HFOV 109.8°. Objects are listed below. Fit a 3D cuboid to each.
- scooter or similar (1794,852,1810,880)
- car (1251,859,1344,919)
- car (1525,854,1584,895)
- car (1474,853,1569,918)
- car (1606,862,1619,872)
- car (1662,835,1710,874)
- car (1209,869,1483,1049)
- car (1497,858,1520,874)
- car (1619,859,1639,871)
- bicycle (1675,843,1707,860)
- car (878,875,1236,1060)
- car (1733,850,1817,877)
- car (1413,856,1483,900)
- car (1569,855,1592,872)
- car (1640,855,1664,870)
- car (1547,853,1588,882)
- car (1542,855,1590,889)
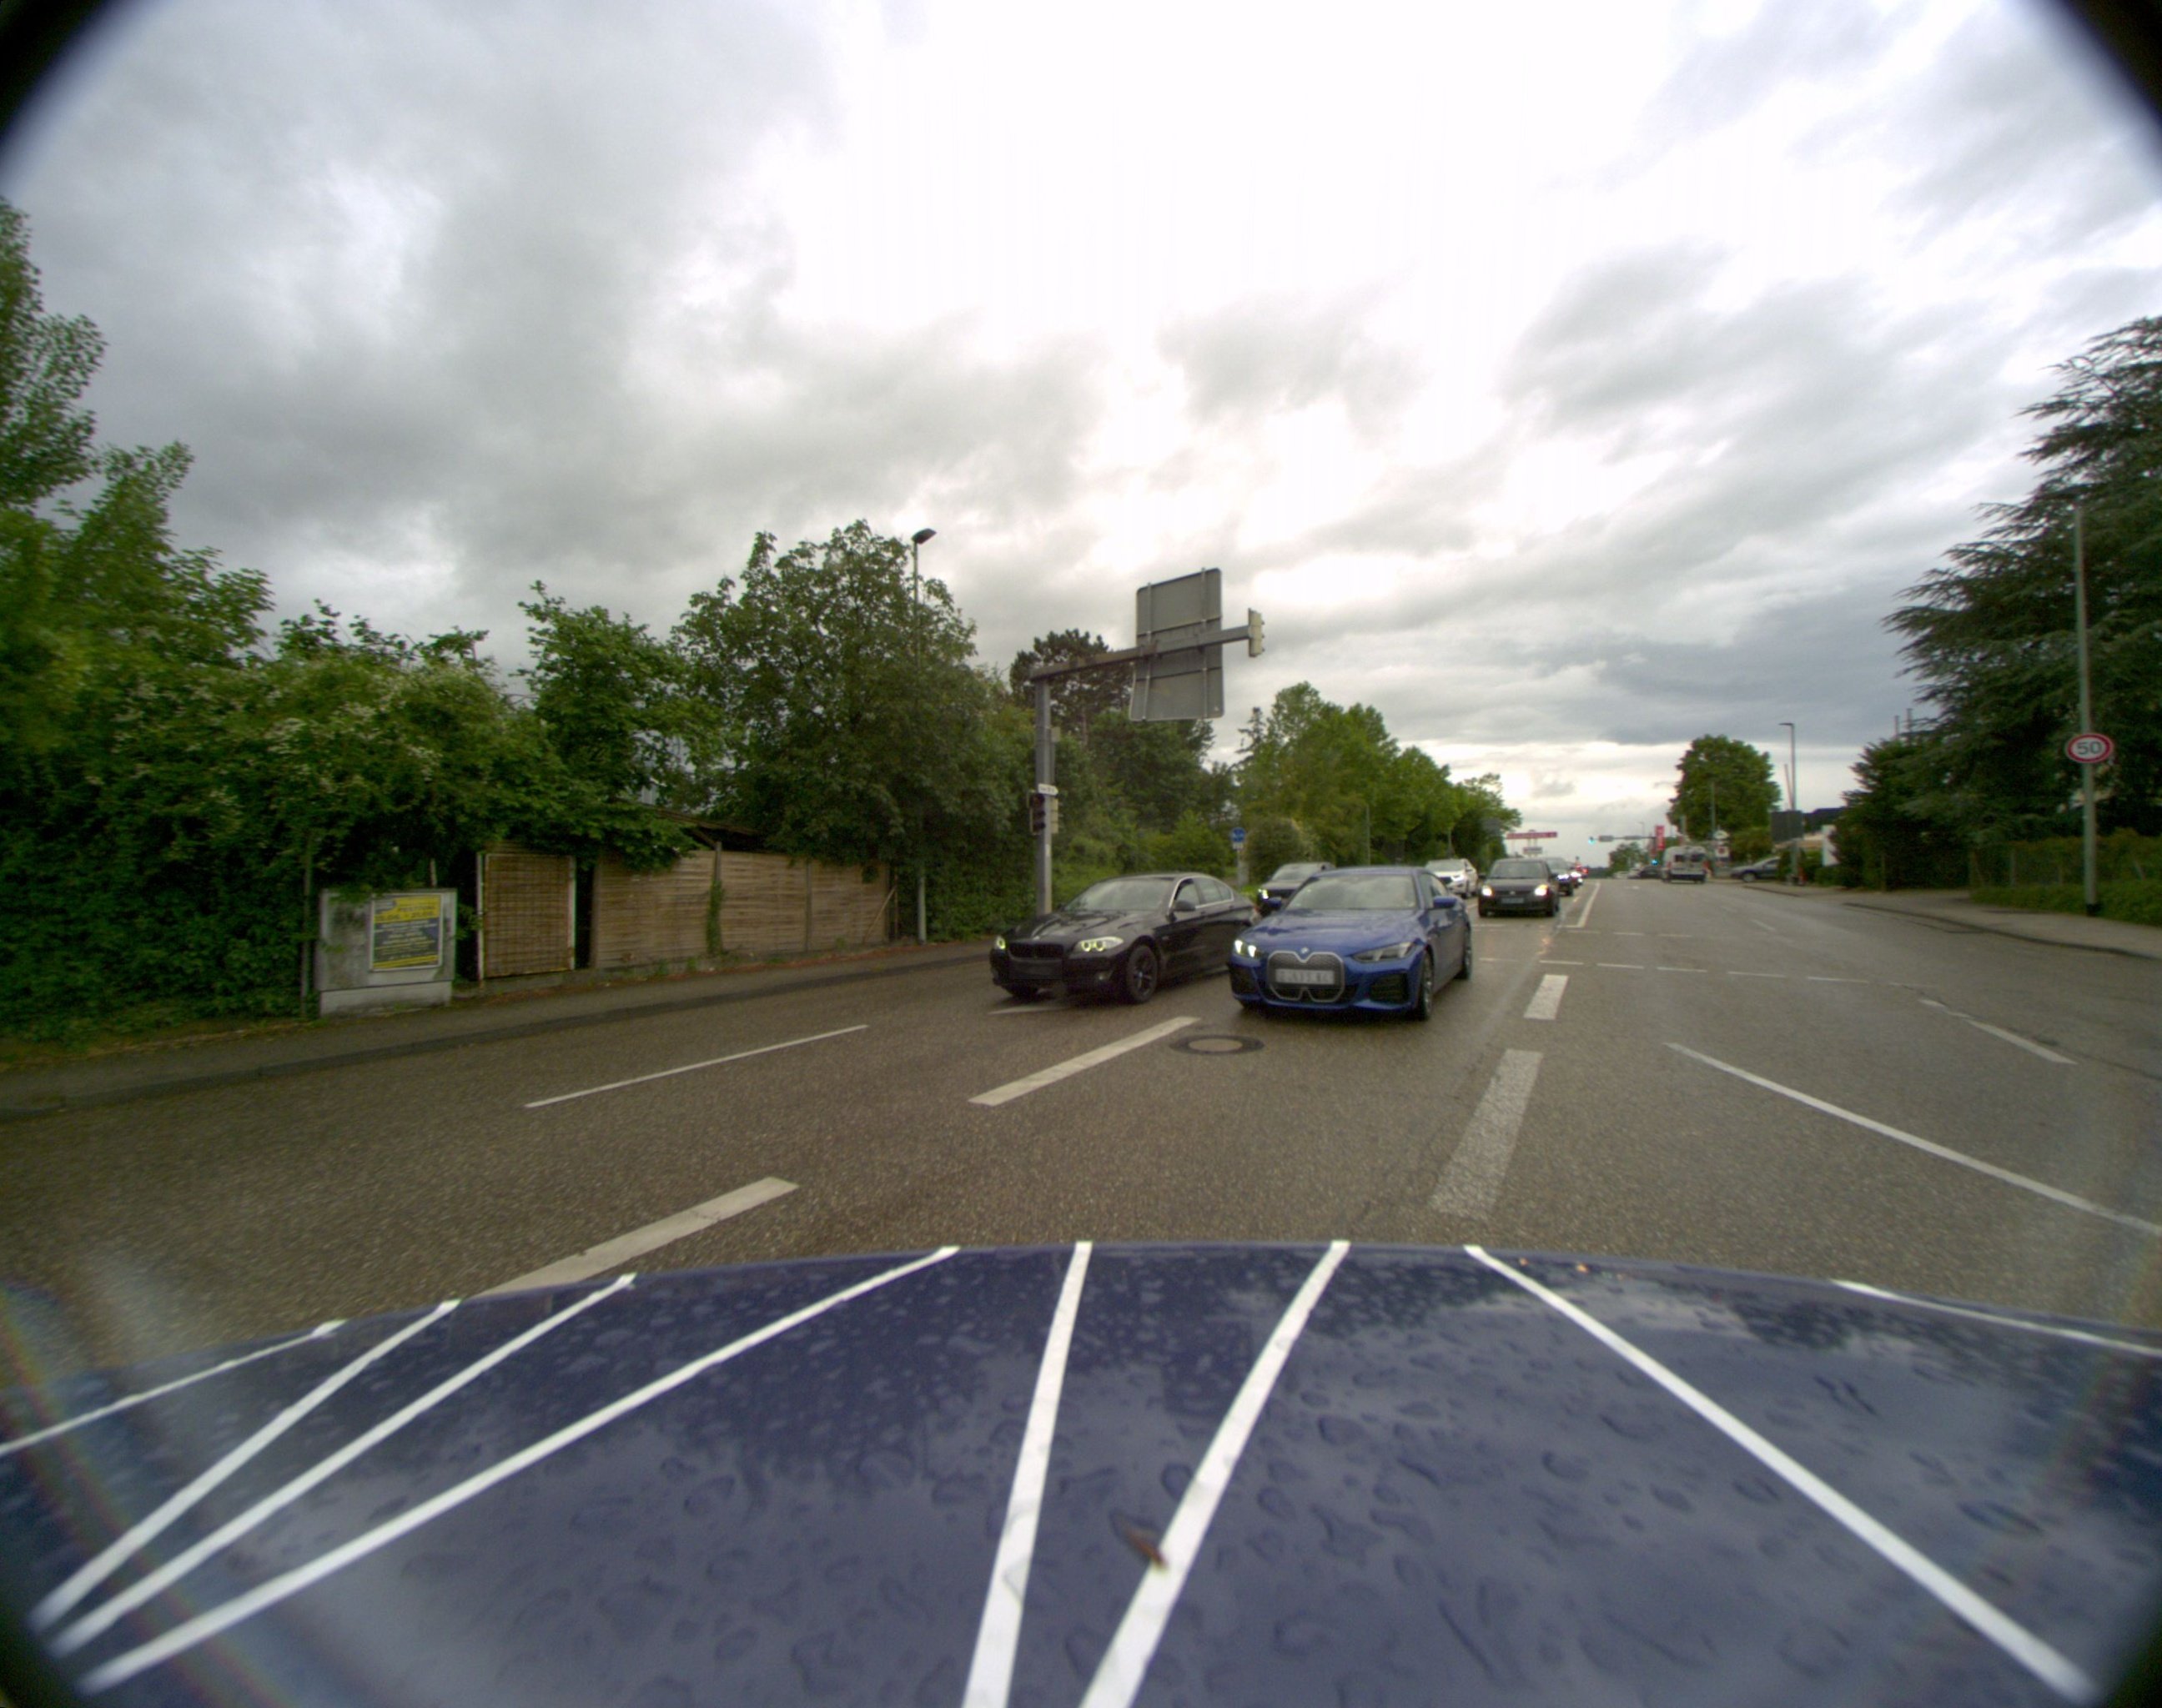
[{"bbox_3d":[36.085,0.591,38.026,1.884,1.397,0.505,-1,0,-45],"label":"scooter or similar"},{"bbox_3d":[6.905,1.061,24.006,1.702,1.612,3.849,-4,-1,32],"label":"car"},{"bbox_3d":[19.444,0.811,31.106,1.803,1.543,4.008,-2,-1,35],"label":"car"},{"bbox_3d":[11.790,0.783,20.213,1.803,1.542,4.232,-2,-1,35],"label":"car"},{"bbox_3d":[91.540,2.255,130.903,1.700,1.589,3.557,-2,0,32],"label":"car"},{"bbox_3d":[41.855,0.007,52.694,2.298,2.513,5.785,-2,0,36],"label":"car"},{"bbox_3d":[3.208,0.927,8.550,1.800,1.398,4.281,-2,-1,35],"label":"car"},{"bbox_3d":[48.478,1.398,86.141,1.812,1.608,3.916,-4,-1,34],"label":"car"},{"bbox_3d":[69.843,1.347,96.842,1.747,1.389,3.809,-2,-1,32],"label":"car"},{"bbox_3d":[40.173,-0.178,50.037,1.637,1.119,0.469,0,0,36],"label":"bicycle"},{"bbox_3d":[0.055,1.084,9.061,1.792,1.450,4.729,-3,-1,34],"label":"car"},{"bbox_3d":[44.539,0.612,48.857,3.924,1.642,1.722,-2,-1,41],"label":"car"},{"bbox_3d":[15.375,0.966,31.731,1.975,1.612,3.849,-4,-2,34],"label":"car"},{"bbox_3d":[56.633,1.016,86.083,1.925,1.707,4.107,-6,-3,35],"label":"car"},{"bbox_3d":[58.692,0.880,78.145,1.777,1.493,4.481,-2,0,34],"label":"car"},{"bbox_3d":[30.732,0.817,47.947,1.924,1.707,4.107,-2,-1,35],"label":"car"},{"bbox_3d":[26.742,0.962,41.844,1.925,1.707,4.107,-4,-2,35],"label":"car"}]
